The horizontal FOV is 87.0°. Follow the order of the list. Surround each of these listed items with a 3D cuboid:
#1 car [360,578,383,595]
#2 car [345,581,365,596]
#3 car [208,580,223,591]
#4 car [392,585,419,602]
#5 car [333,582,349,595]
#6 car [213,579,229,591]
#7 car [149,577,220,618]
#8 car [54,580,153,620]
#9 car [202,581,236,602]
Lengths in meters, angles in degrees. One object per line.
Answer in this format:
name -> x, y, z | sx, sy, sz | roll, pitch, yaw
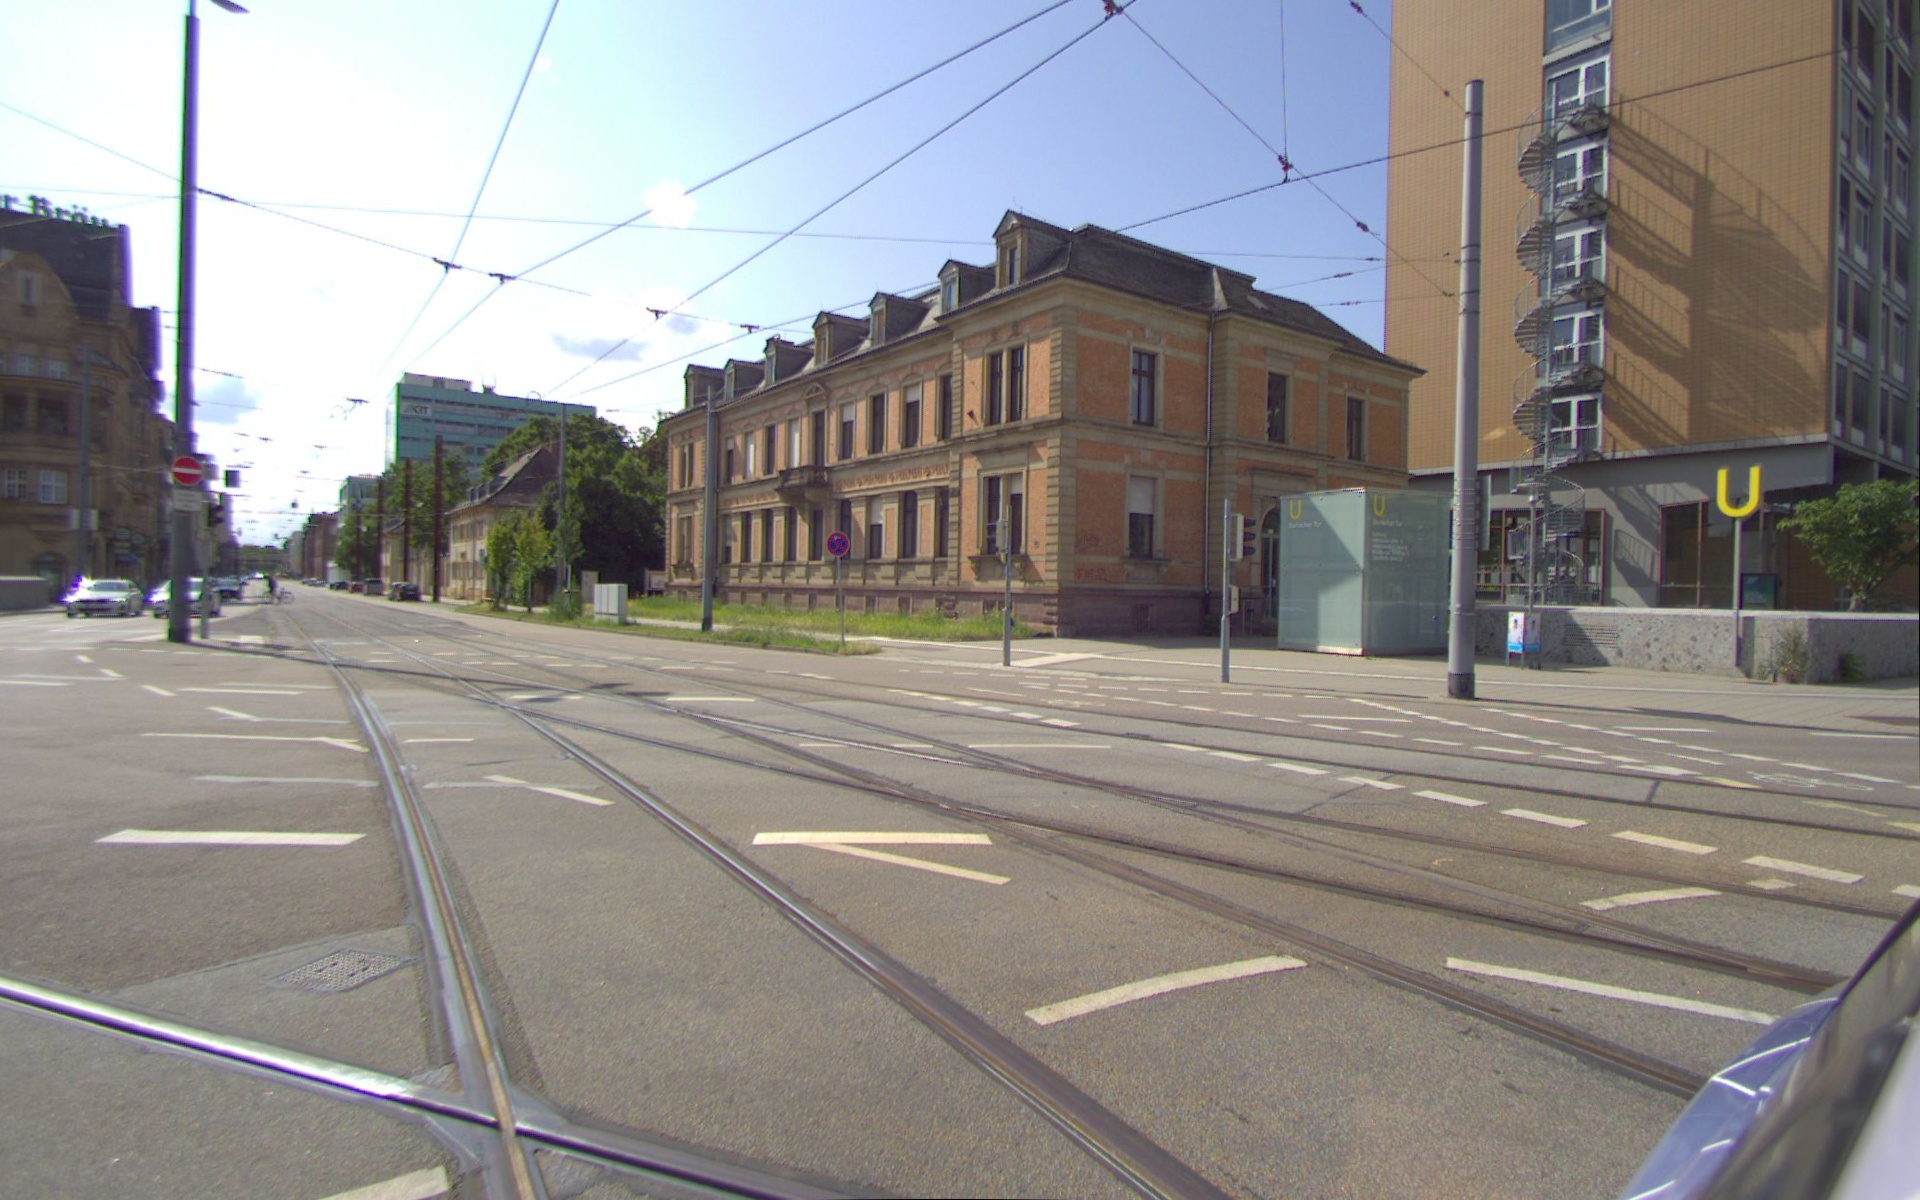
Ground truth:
car -> -63.958, -1.482, 109.907 | 1.961, 1.838, 4.003 | 1, 0, -32
car -> -75.715, -1.460, 126.639 | 1.961, 1.838, 4.003 | 1, 0, -32
car -> -128.411, -2.544, 174.578 | 1.963, 1.839, 3.998 | 1, 0, -37
car -> -46.712, -0.581, 85.267 | 1.960, 1.393, 4.005 | 1, 0, -29
car -> -92.368, -1.764, 151.009 | 1.961, 1.838, 4.003 | 1, 0, -32
car -> -113.283, -2.265, 155.161 | 1.963, 1.839, 3.998 | 1, 0, -37
car -> -29.585, -0.095, 38.696 | 1.954, 1.502, 4.000 | 1, 0, -35
car -> -33.167, -0.033, 39.328 | 2.005, 1.448, 4.545 | -1, 1, -28
car -> -53.012, -0.613, 72.400 | 1.859, 1.438, 3.998 | 1, 0, -37
